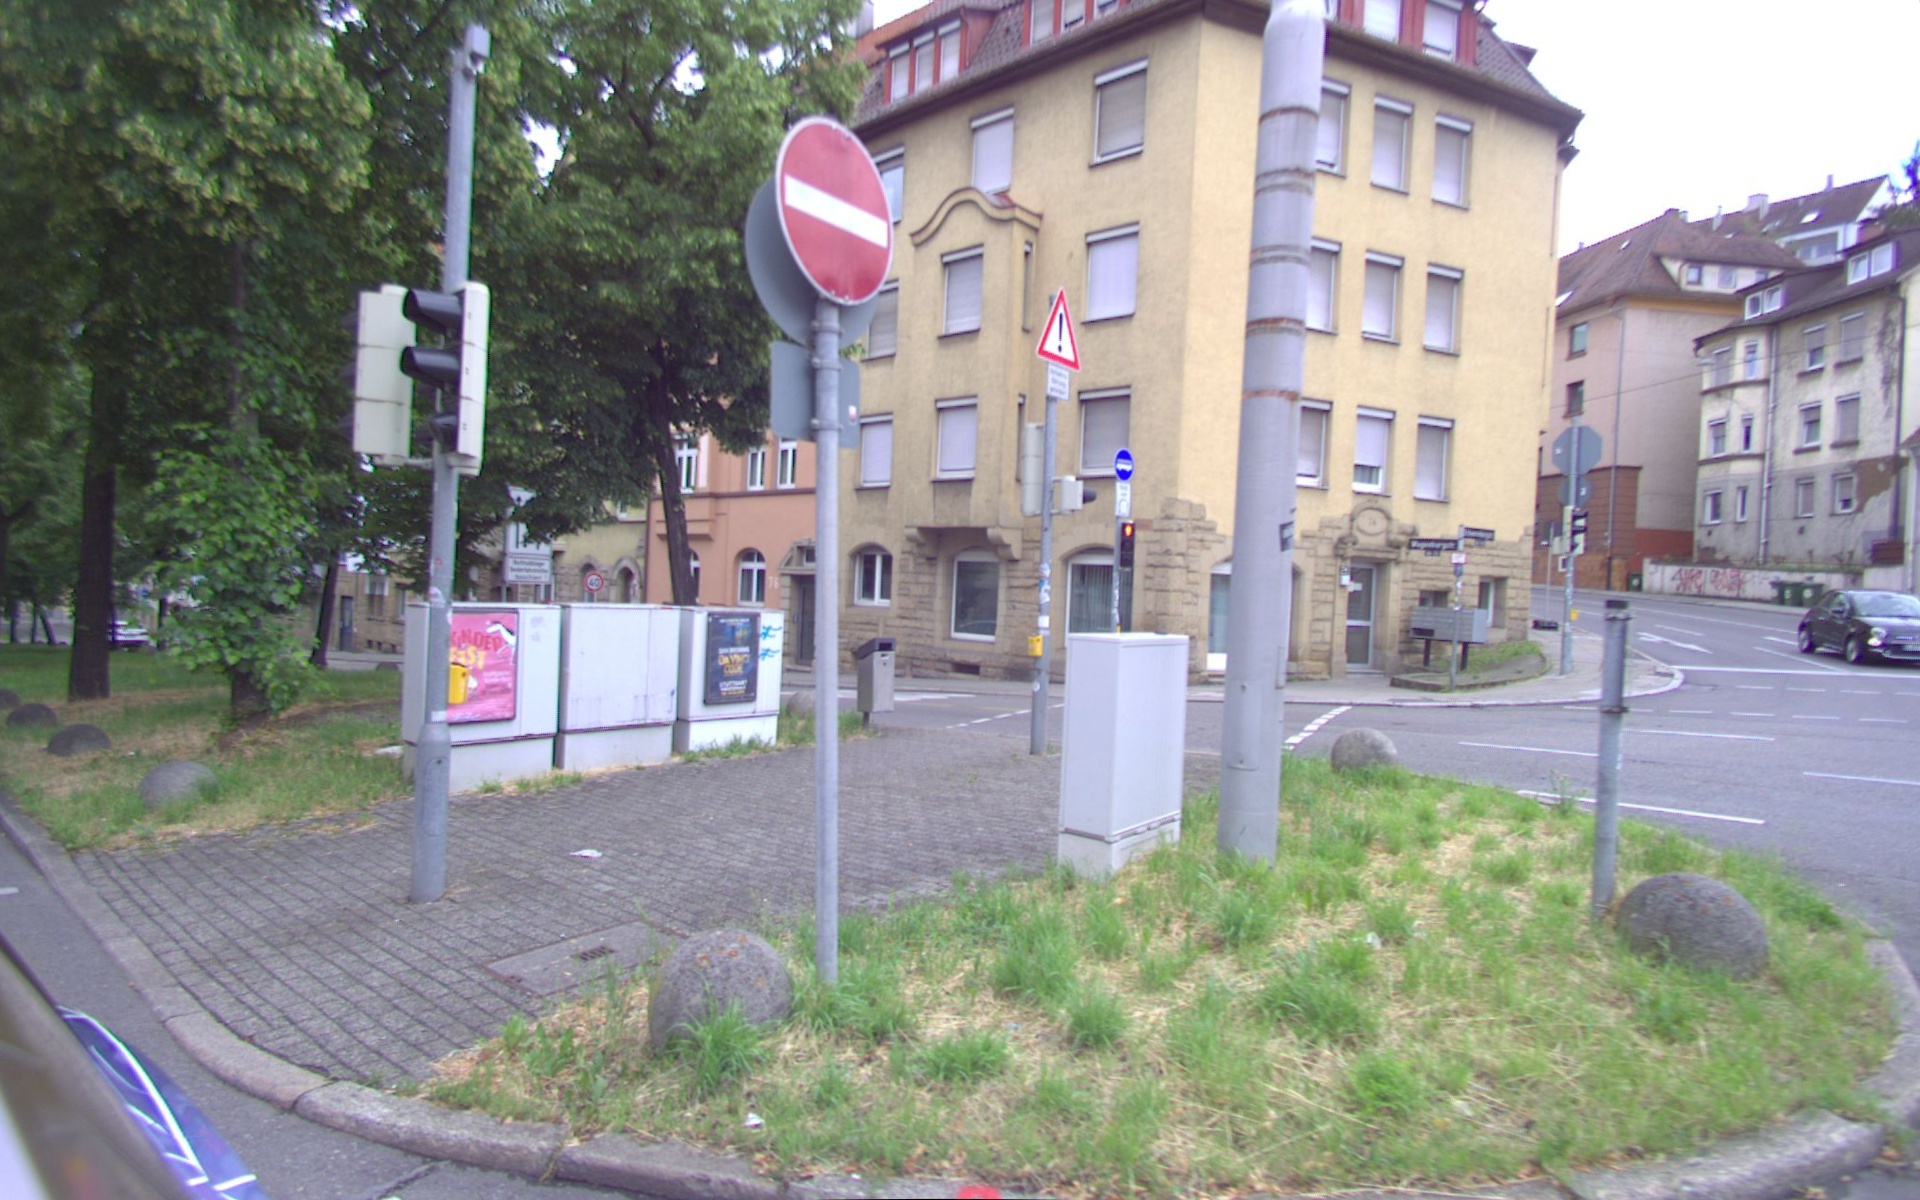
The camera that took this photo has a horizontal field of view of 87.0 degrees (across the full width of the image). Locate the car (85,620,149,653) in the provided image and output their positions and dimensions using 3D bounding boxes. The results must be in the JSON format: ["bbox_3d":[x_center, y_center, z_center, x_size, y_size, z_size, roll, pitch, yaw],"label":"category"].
[{"bbox_3d":[-45.449,1.923,54.532,4.516,1.647,1.917,-1,-1,41],"label":"car"}]

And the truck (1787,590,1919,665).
[{"bbox_3d":[19.228,0.515,21.064,1.838,1.429,3.974,0,0,20],"label":"truck"}]
